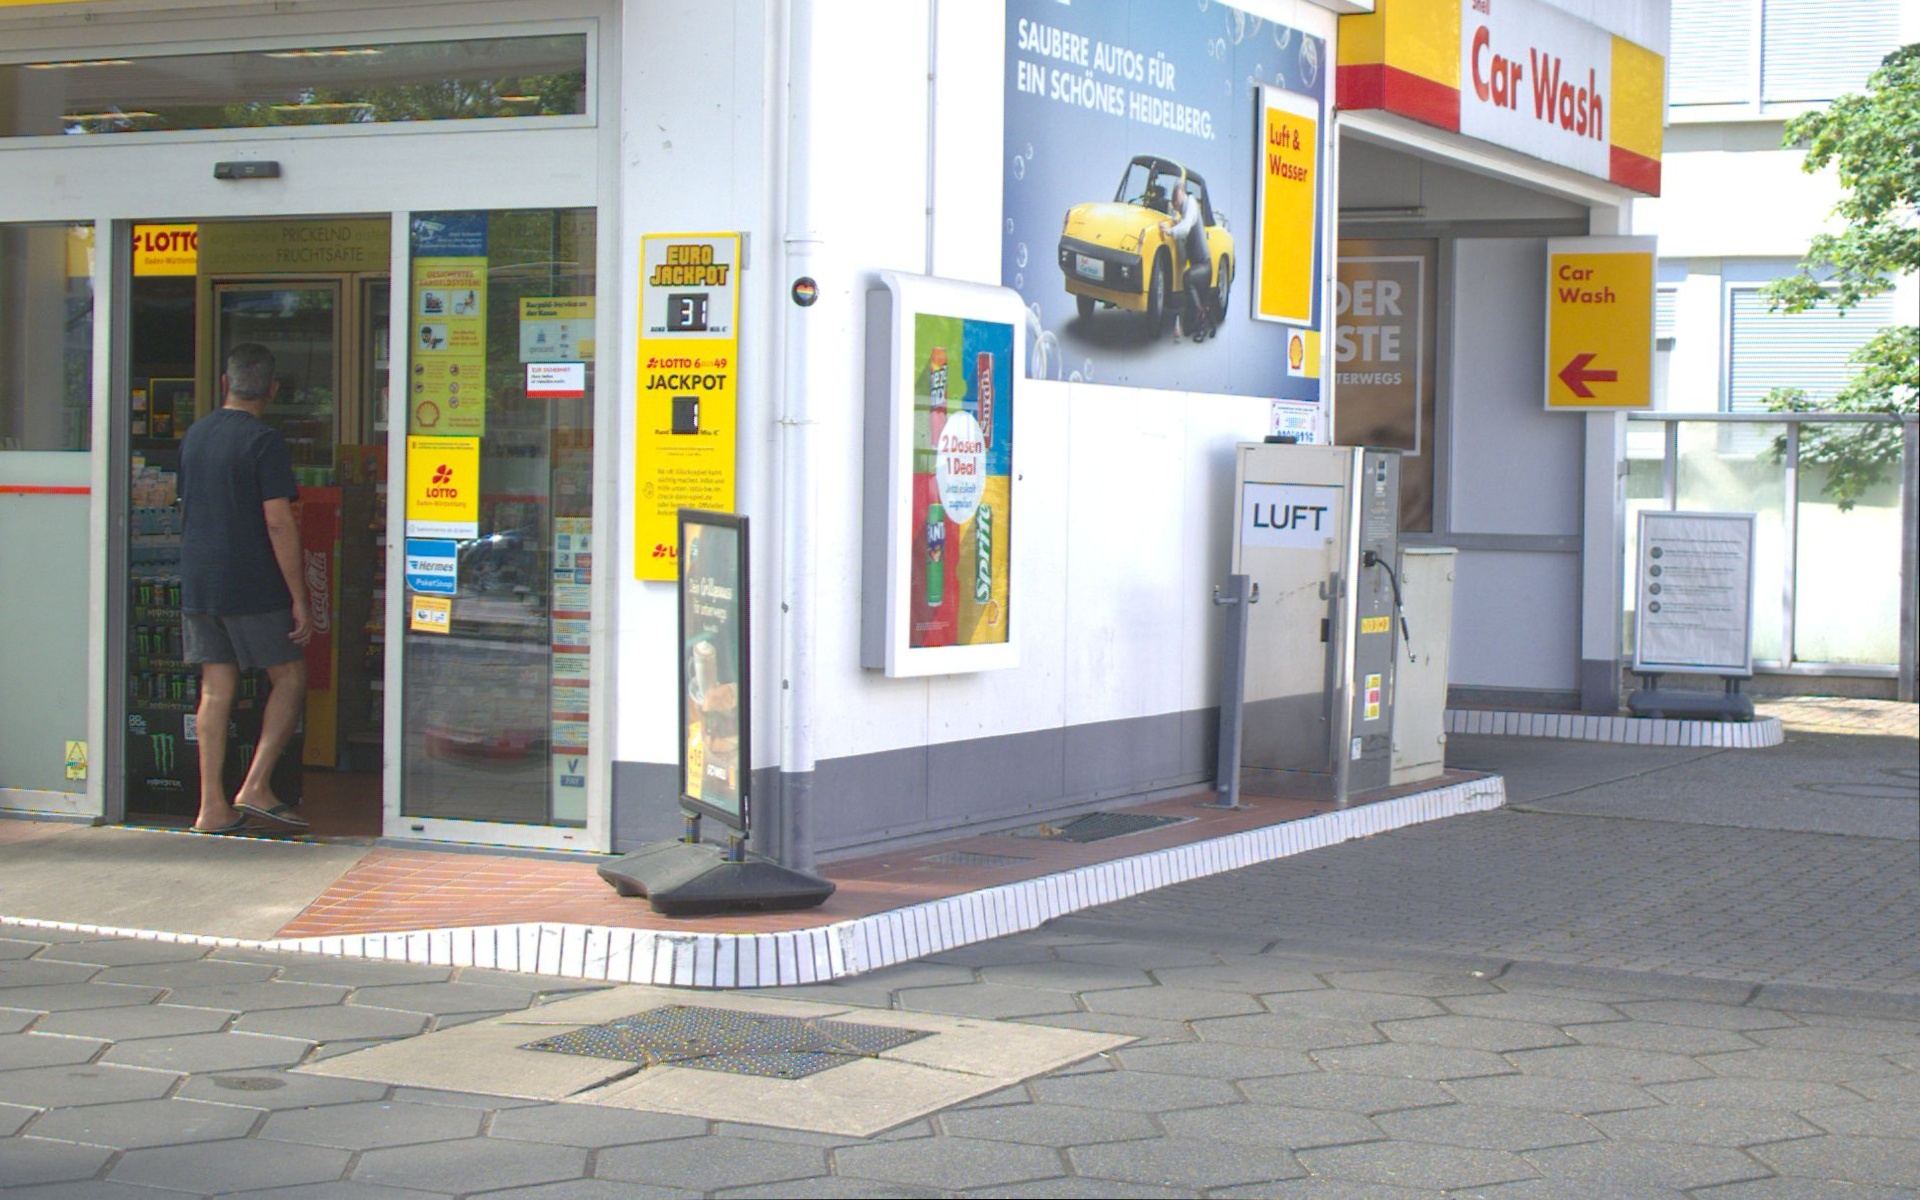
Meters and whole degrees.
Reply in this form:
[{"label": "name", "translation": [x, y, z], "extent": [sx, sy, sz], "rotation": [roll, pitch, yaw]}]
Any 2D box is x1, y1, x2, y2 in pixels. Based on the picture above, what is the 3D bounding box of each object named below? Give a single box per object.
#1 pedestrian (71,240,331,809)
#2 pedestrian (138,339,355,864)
[{"label": "pedestrian", "translation": [-2.768, -0.283, 12.577], "extent": [0.622, 2.006, 0.742], "rotation": [2, 2, 18]}, {"label": "pedestrian", "translation": [-2.453, -0.003, 11.856], "extent": [0.571, 1.755, 0.530], "rotation": [1, 2, 6]}]
